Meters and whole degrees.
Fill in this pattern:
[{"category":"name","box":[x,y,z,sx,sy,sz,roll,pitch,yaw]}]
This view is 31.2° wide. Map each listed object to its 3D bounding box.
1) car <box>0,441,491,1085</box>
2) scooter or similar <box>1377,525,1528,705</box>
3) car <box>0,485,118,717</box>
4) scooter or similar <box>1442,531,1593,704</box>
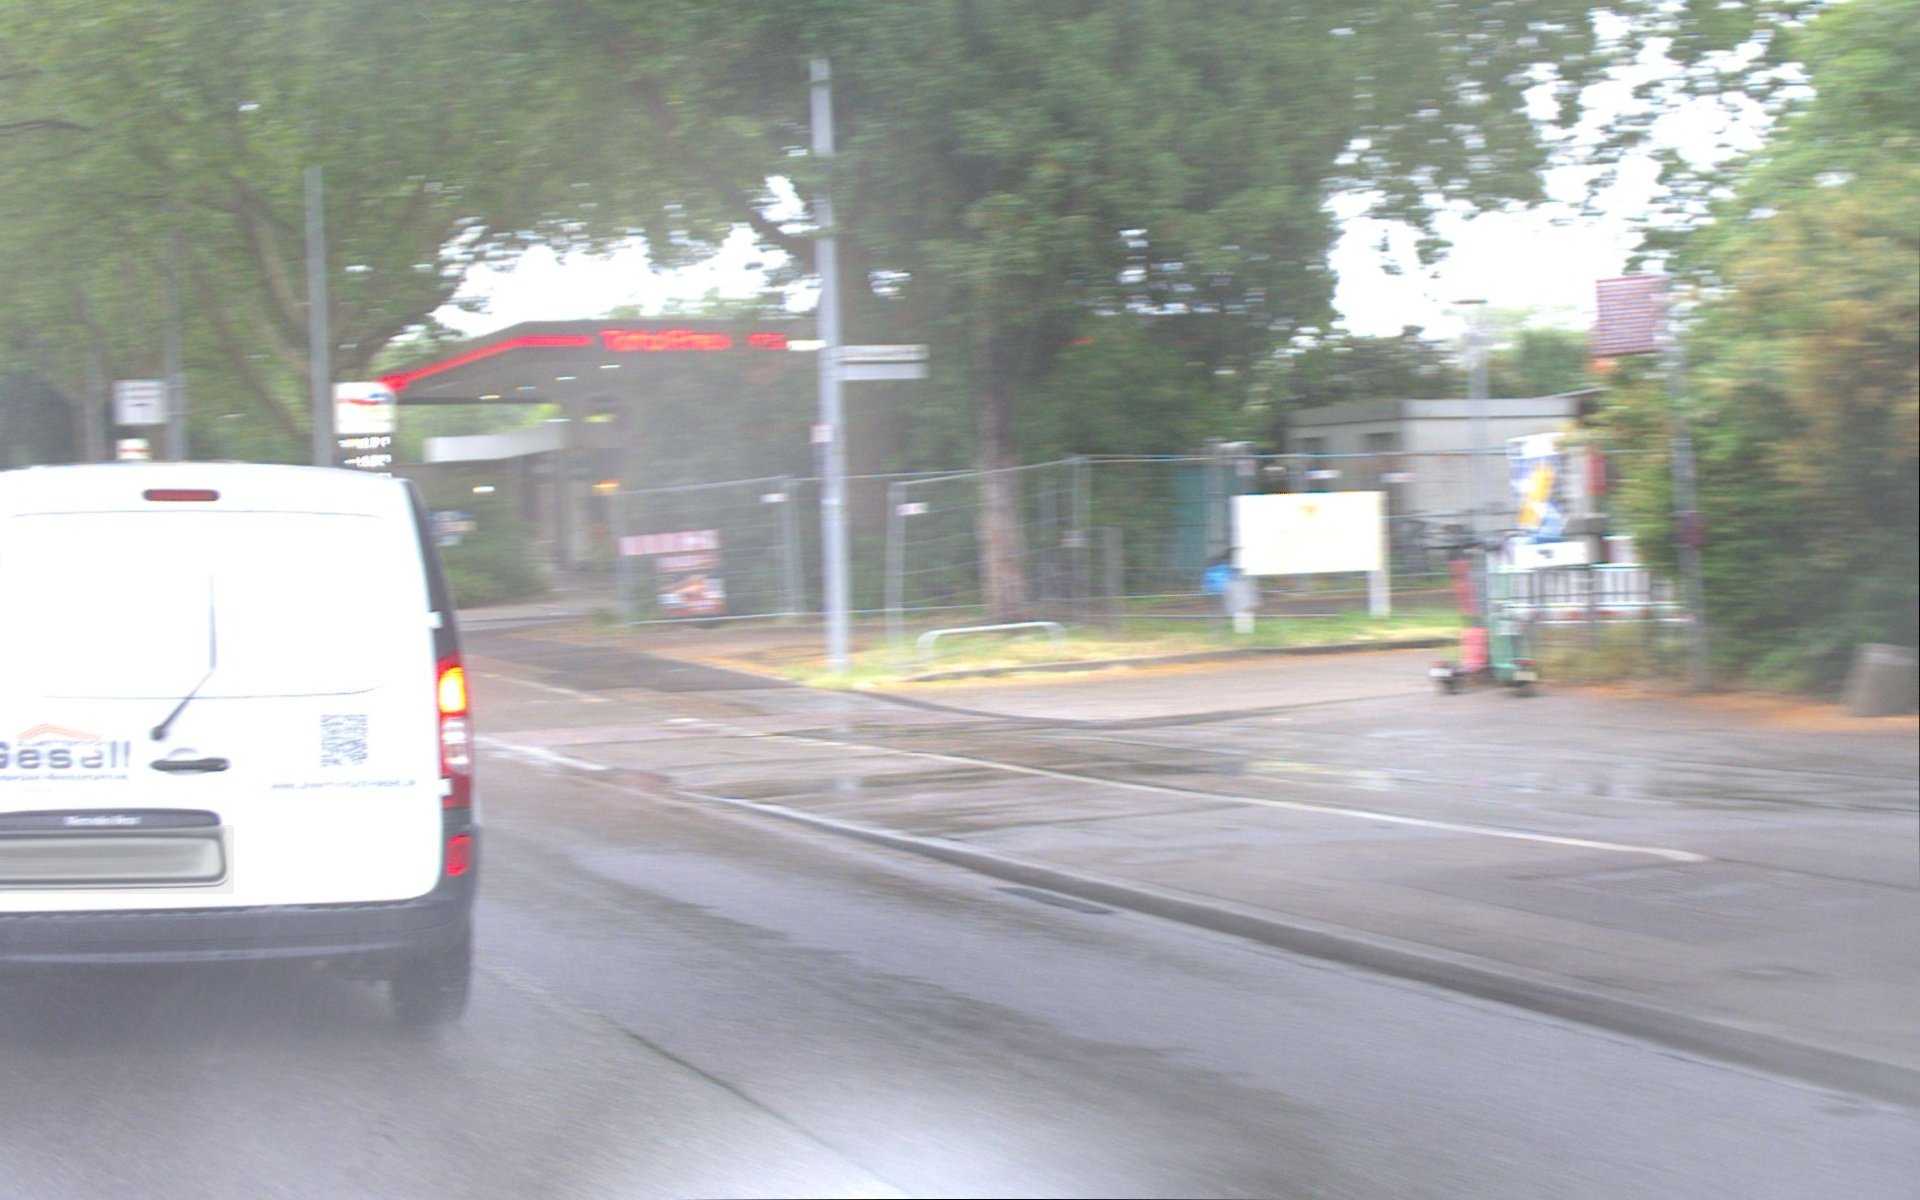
[{"category":"car","box":[-2.902,0.442,11.697,1.755,1.771,4.001,-3,1,-19]},{"category":"scooter or similar","box":[3.916,0.101,27.223,0.709,1.306,1.556,-6,-1,22]},{"category":"car","box":[-7.565,0.006,26.007,1.917,1.603,4.001,-2,1,-19]},{"category":"scooter or similar","box":[4.117,0.108,25.476,0.770,1.174,1.548,-4,2,-1]}]
